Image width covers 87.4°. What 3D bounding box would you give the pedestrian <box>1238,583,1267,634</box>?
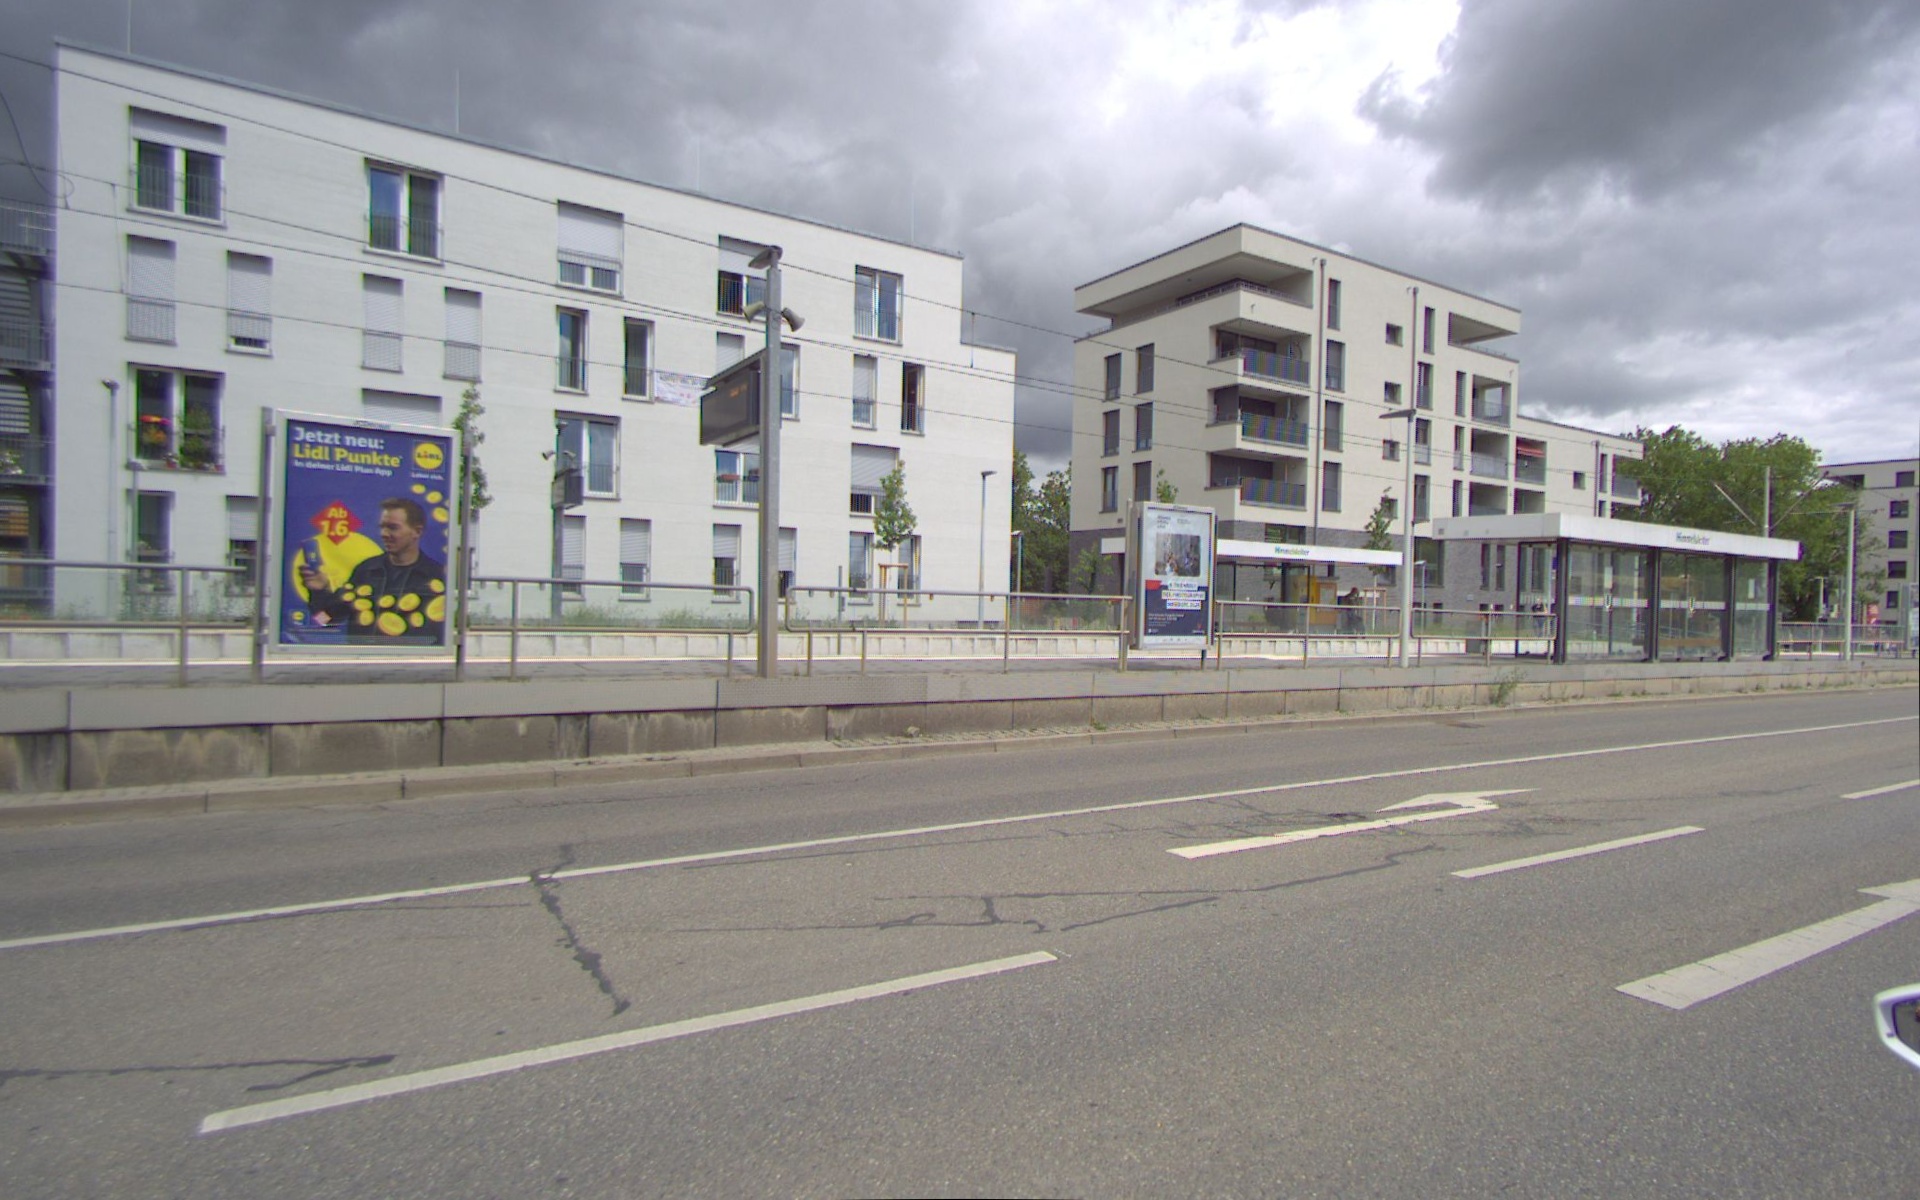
[{"bbox_3d":[9.285,0.269,31.858,0.670,1.575,0.558,1,1,-30],"label":"pedestrian"}]

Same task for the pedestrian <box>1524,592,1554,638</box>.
[{"bbox_3d":[22.524,0.586,39.070,0.924,1.789,0.671,1,1,-35],"label":"pedestrian"}]

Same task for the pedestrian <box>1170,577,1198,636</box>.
[{"bbox_3d":[6.273,0.192,28.125,0.664,1.618,0.489,1,0,3],"label":"pedestrian"}]

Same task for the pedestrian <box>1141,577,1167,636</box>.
[{"bbox_3d":[5.415,0.171,28.020,0.664,1.618,0.489,1,0,11],"label":"pedestrian"}]

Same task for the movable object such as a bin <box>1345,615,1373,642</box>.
[{"bbox_3d":[13.200,0.951,33.237,0.670,0.861,0.558,1,0,-30],"label":"movable object such as a bin"}]

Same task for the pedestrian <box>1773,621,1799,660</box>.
[{"bbox_3d":[48.300,2.366,58.753,0.872,2.234,0.910,1,1,-32],"label":"pedestrian"}]

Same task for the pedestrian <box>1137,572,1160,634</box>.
[{"bbox_3d":[5.411,0.078,28.864,0.479,1.748,0.677,2,1,24],"label":"pedestrian"}]

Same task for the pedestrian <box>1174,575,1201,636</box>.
[{"bbox_3d":[6.742,0.165,29.794,0.664,1.789,0.489,1,0,3],"label":"pedestrian"}]

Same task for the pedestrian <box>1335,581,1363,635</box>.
[{"bbox_3d":[13.070,0.255,33.777,0.670,1.789,0.558,1,1,-30],"label":"pedestrian"}]

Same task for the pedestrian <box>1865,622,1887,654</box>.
[{"bbox_3d":[63.666,2.650,69.811,0.925,2.162,0.910,1,1,-32],"label":"pedestrian"}]
